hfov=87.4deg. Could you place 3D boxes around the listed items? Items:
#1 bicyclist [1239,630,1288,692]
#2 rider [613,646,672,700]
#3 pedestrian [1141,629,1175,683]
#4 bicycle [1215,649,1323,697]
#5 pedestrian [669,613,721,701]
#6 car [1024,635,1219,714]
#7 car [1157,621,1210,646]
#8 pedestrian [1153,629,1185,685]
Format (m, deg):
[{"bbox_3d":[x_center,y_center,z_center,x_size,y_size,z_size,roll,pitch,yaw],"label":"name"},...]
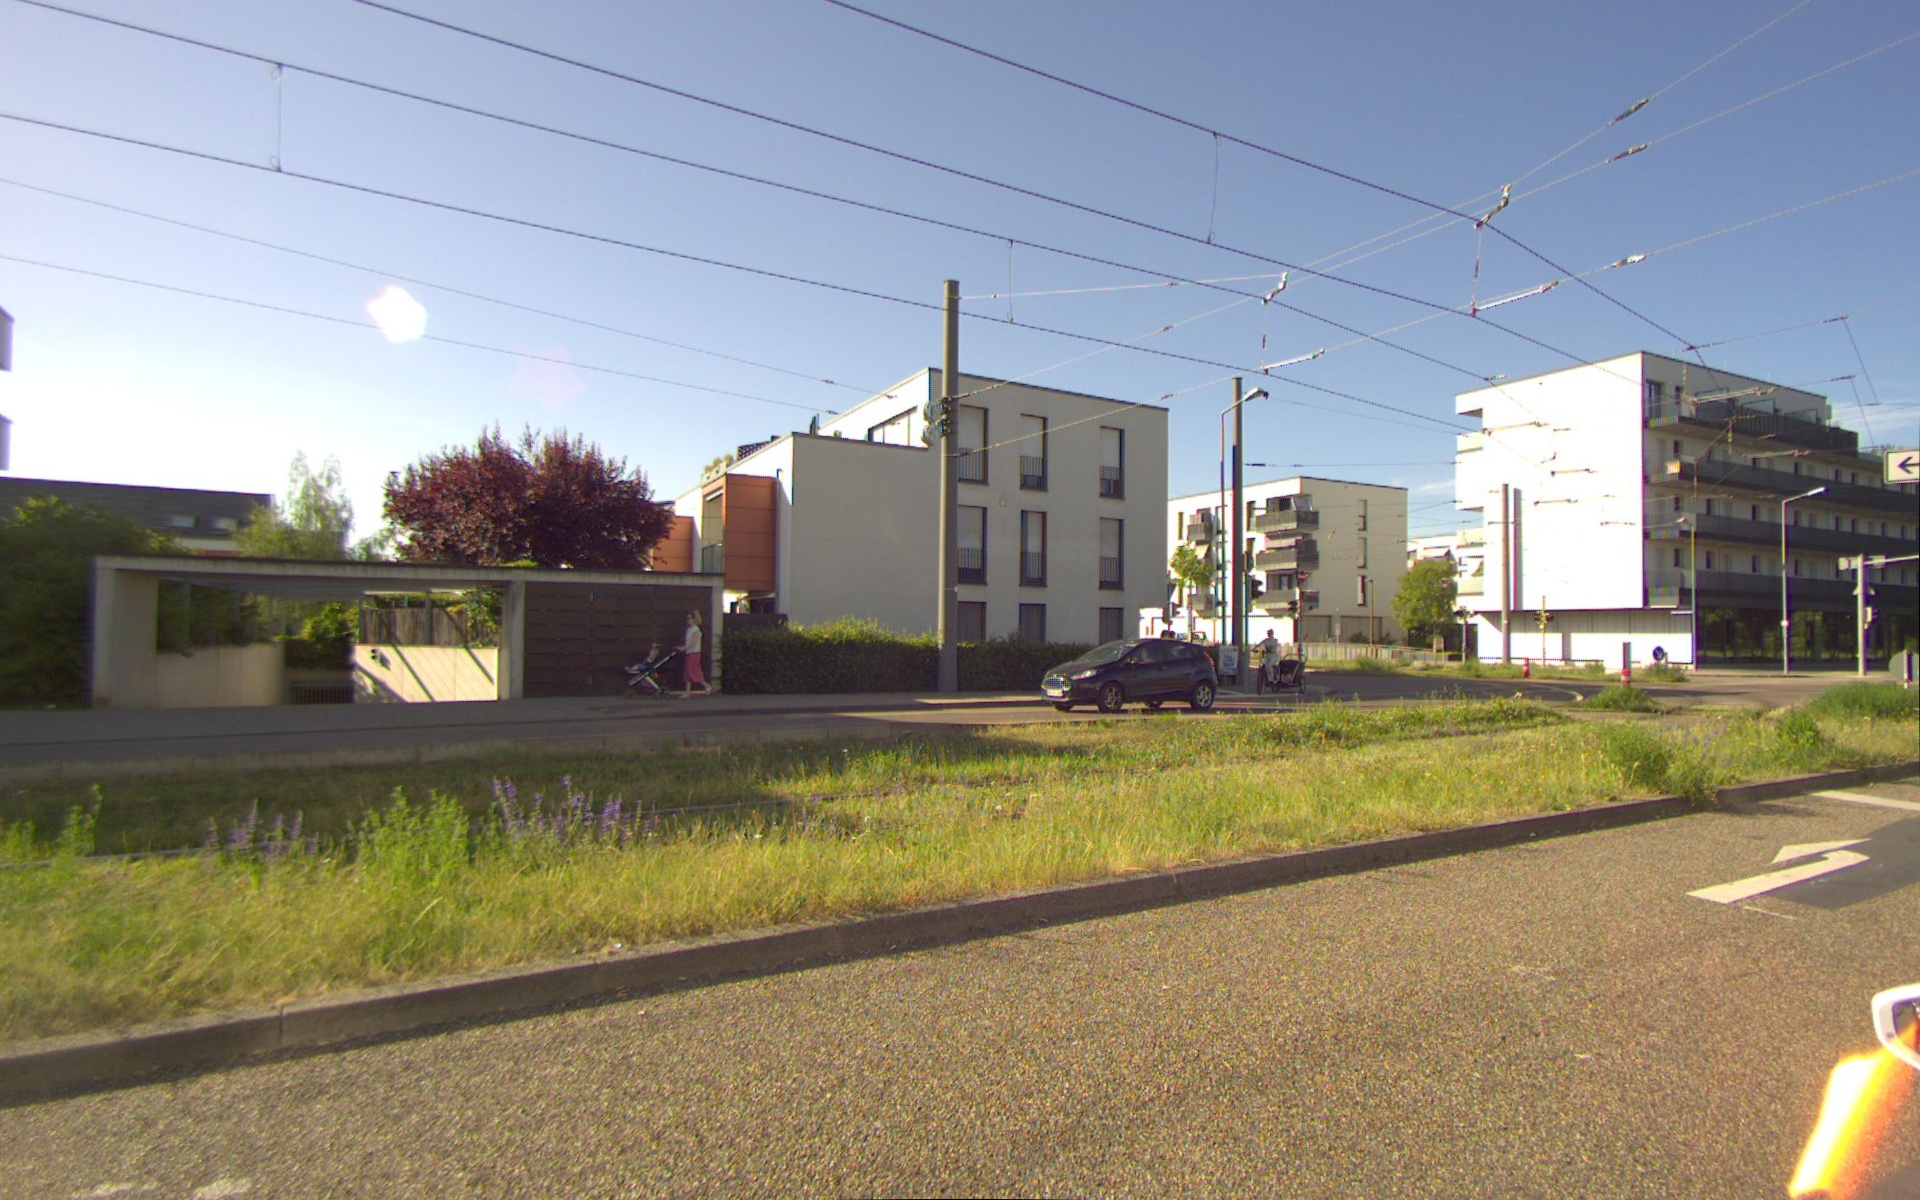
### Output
[{"bbox_3d":[8.517,1.698,28.215,0.905,1.651,0.965,1,0,-38],"label":"bicyclist"},{"bbox_3d":[-6.420,1.466,20.304,1.031,1.016,0.775,1,0,-25],"label":"rider"},{"bbox_3d":[5.503,1.550,27.929,0.733,1.483,0.555,1,0,-28],"label":"pedestrian"},{"bbox_3d":[8.794,2.029,28.462,3.662,1.190,0.988,1,1,-39],"label":"bicycle"},{"bbox_3d":[-5.481,1.158,20.728,0.897,1.771,0.813,1,0,-24],"label":"pedestrian"},{"bbox_3d":[3.288,1.461,20.313,3.697,1.449,1.695,1,-4,-31],"label":"car"},{"bbox_3d":[17.780,2.646,80.097,1.977,1.862,3.967,1,-1,-31],"label":"car"},{"bbox_3d":[5.695,1.552,27.387,0.605,1.483,0.554,1,0,-33],"label":"pedestrian"}]
